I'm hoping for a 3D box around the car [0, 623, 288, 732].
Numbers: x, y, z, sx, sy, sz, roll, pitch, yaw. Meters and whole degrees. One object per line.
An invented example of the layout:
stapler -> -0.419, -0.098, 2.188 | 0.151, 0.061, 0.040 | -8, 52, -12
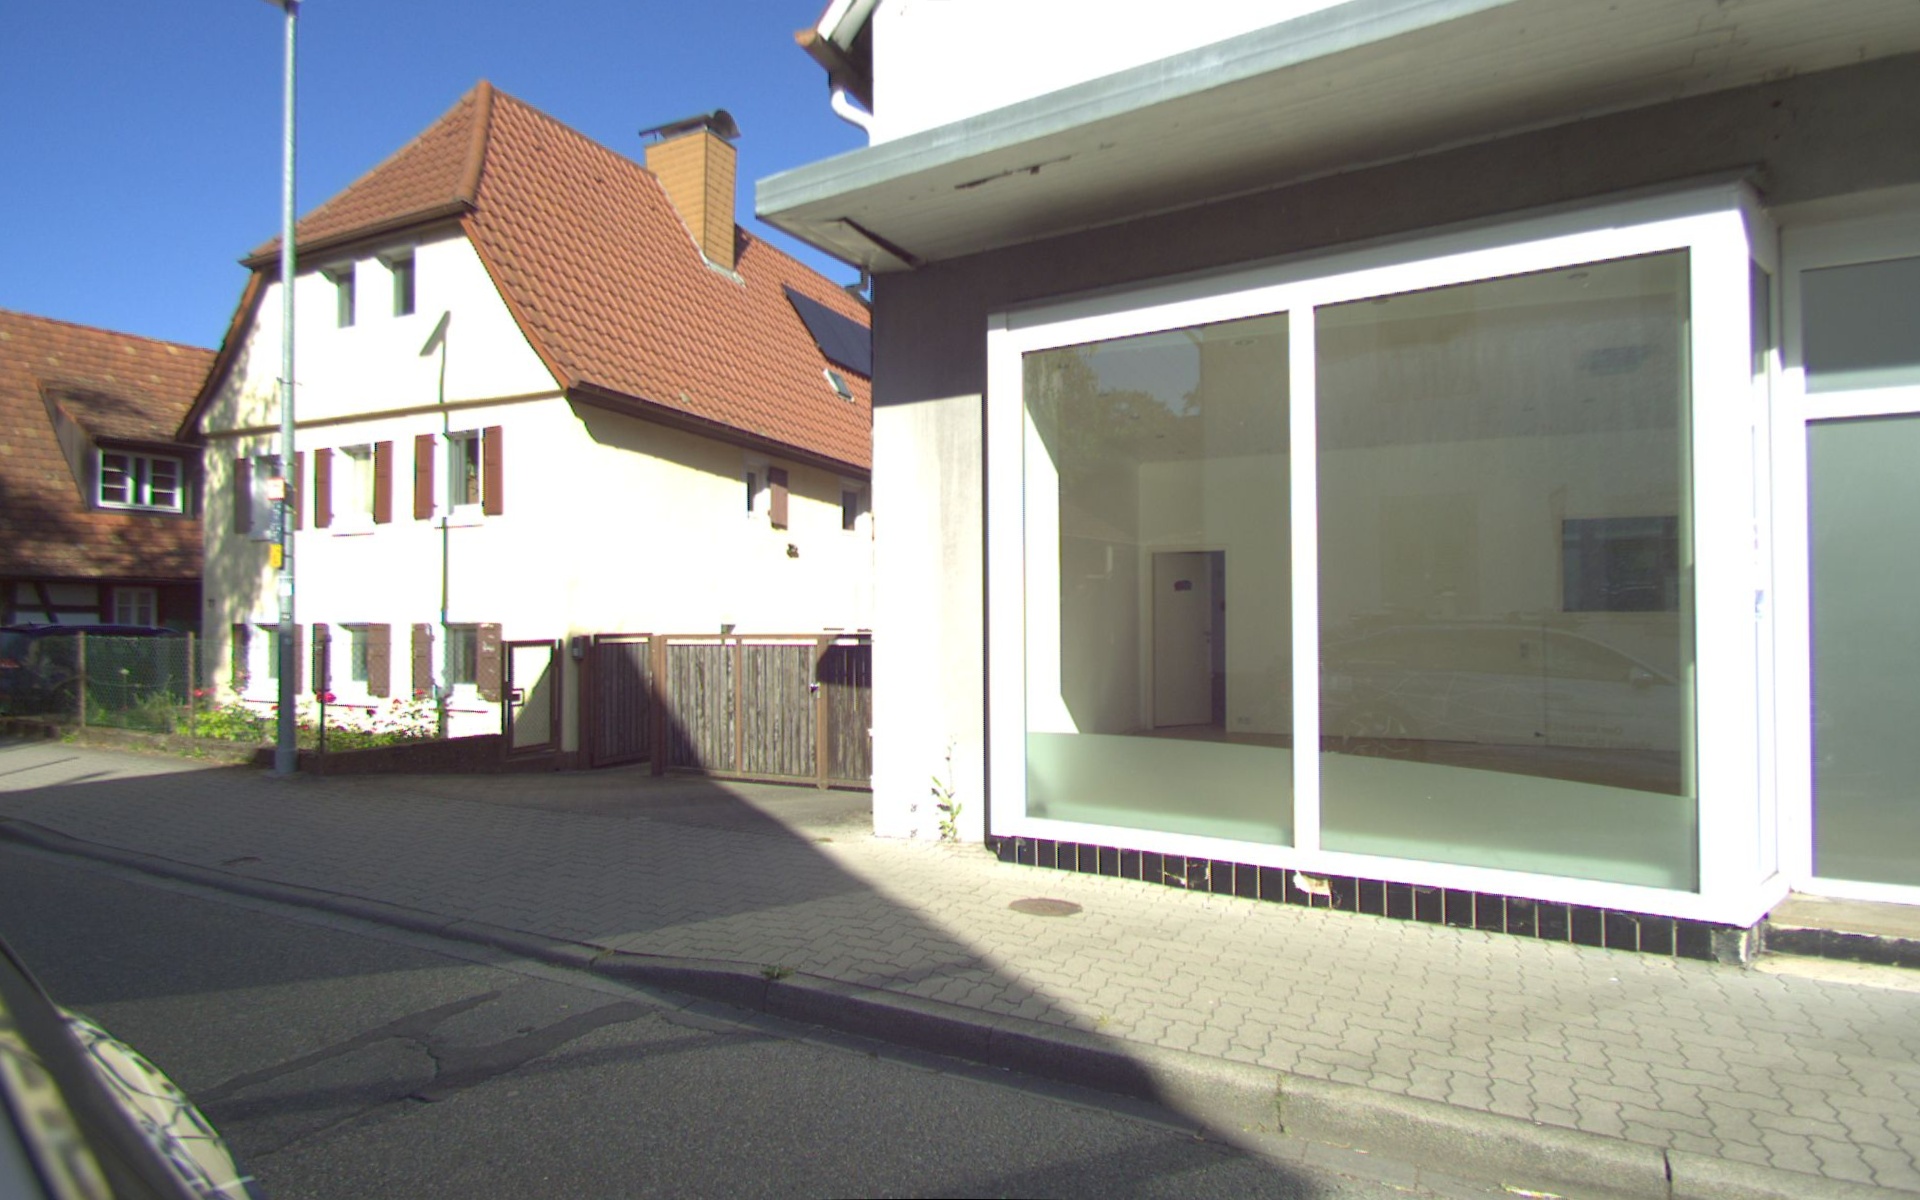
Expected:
car -> -13.179, 1.177, 15.804 | 1.836, 1.473, 4.139 | -1, -4, 23
